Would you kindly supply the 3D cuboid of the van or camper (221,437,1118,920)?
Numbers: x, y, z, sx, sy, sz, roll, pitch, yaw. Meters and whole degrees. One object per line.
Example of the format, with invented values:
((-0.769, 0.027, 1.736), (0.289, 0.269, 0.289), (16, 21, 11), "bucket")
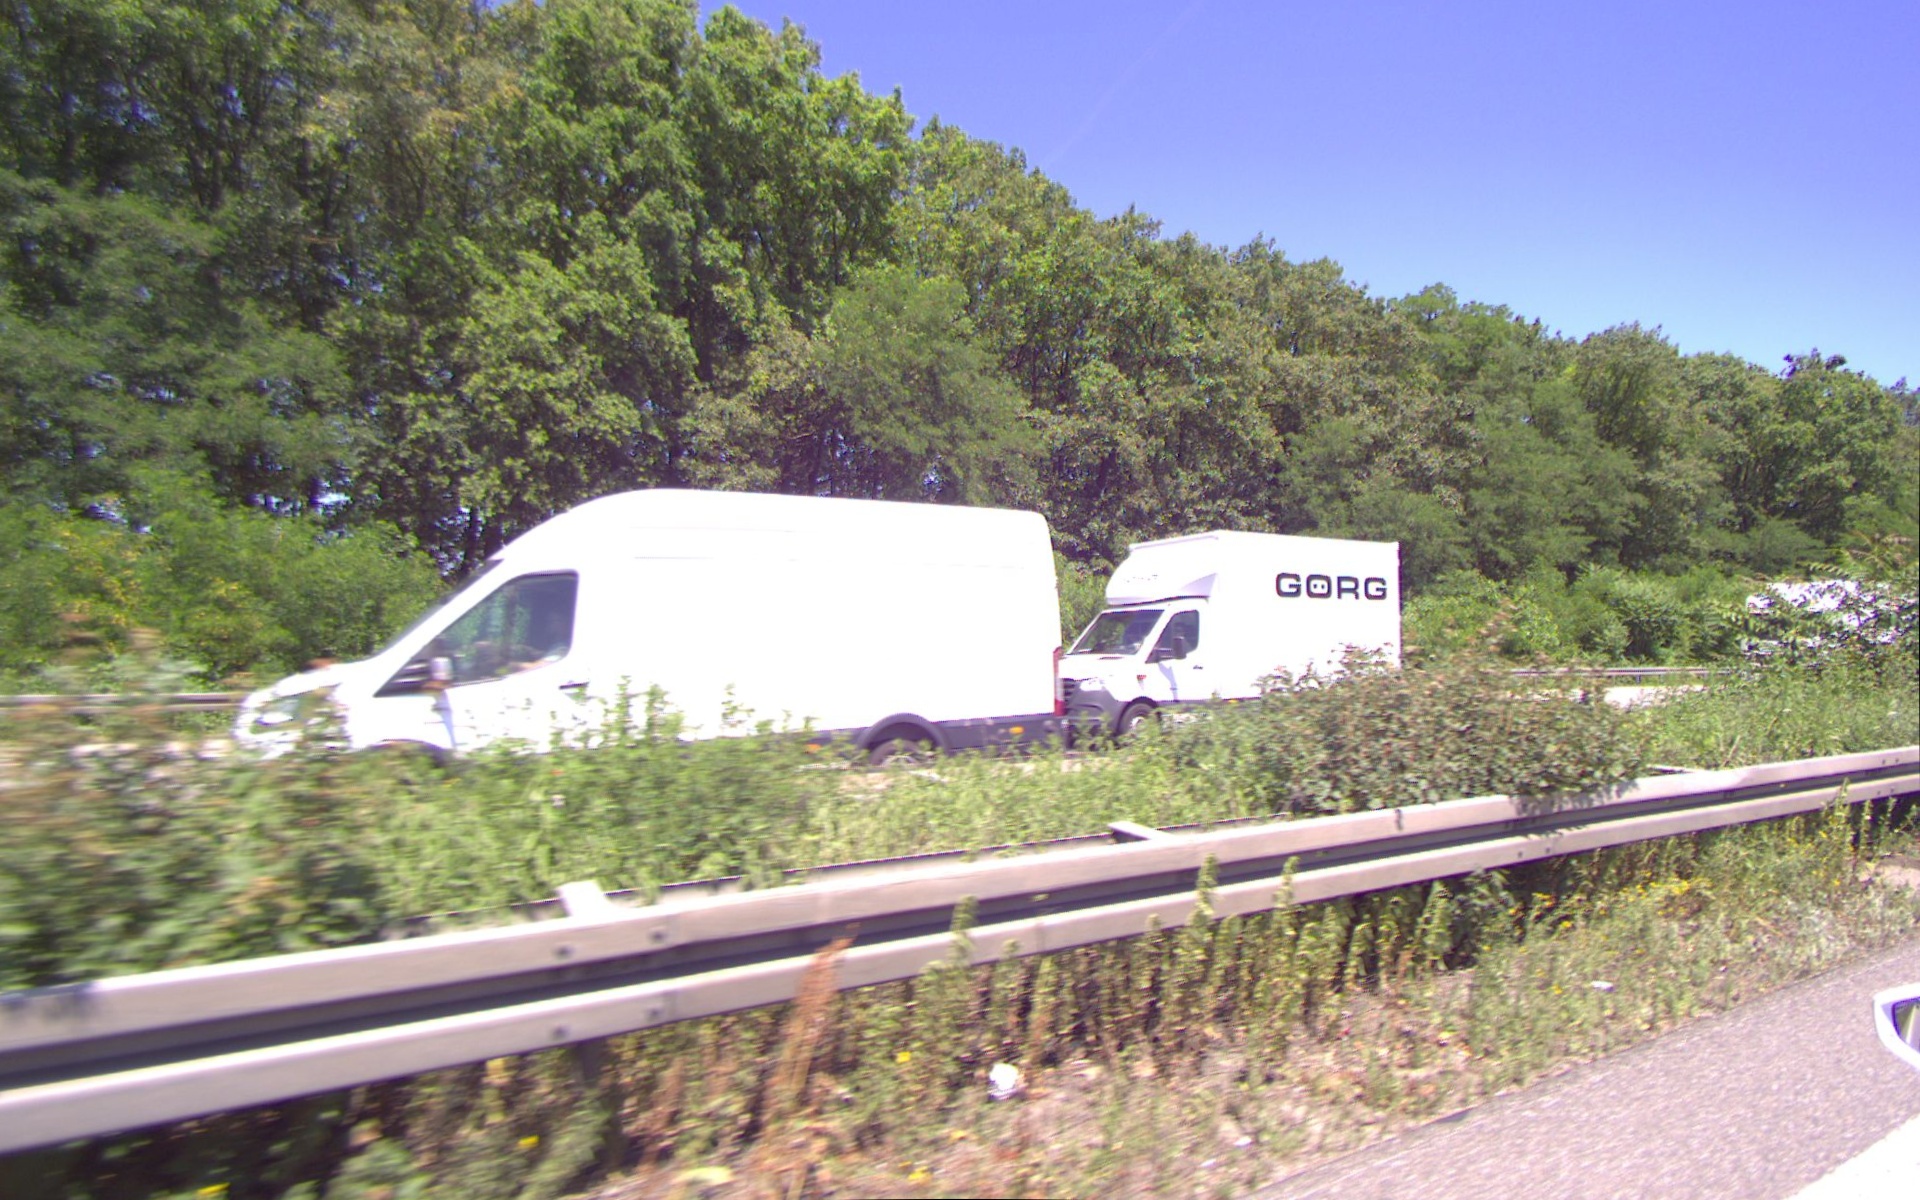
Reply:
((-1.943, 0.552, 8.676), (6.921, 2.884, 1.983), (1, -1, -32), "van or camper")

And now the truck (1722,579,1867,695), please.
((31.189, 1.400, 37.568), (4.135, 4.087, 2.822), (2, -3, -30), "truck")

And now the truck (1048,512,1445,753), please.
((4.993, 0.585, 16.989), (6.921, 3.397, 2.398), (1, -3, -32), "truck")

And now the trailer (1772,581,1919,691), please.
((38.405, 1.553, 41.721), (12.760, 4.087, 2.822), (2, -3, -30), "trailer")
